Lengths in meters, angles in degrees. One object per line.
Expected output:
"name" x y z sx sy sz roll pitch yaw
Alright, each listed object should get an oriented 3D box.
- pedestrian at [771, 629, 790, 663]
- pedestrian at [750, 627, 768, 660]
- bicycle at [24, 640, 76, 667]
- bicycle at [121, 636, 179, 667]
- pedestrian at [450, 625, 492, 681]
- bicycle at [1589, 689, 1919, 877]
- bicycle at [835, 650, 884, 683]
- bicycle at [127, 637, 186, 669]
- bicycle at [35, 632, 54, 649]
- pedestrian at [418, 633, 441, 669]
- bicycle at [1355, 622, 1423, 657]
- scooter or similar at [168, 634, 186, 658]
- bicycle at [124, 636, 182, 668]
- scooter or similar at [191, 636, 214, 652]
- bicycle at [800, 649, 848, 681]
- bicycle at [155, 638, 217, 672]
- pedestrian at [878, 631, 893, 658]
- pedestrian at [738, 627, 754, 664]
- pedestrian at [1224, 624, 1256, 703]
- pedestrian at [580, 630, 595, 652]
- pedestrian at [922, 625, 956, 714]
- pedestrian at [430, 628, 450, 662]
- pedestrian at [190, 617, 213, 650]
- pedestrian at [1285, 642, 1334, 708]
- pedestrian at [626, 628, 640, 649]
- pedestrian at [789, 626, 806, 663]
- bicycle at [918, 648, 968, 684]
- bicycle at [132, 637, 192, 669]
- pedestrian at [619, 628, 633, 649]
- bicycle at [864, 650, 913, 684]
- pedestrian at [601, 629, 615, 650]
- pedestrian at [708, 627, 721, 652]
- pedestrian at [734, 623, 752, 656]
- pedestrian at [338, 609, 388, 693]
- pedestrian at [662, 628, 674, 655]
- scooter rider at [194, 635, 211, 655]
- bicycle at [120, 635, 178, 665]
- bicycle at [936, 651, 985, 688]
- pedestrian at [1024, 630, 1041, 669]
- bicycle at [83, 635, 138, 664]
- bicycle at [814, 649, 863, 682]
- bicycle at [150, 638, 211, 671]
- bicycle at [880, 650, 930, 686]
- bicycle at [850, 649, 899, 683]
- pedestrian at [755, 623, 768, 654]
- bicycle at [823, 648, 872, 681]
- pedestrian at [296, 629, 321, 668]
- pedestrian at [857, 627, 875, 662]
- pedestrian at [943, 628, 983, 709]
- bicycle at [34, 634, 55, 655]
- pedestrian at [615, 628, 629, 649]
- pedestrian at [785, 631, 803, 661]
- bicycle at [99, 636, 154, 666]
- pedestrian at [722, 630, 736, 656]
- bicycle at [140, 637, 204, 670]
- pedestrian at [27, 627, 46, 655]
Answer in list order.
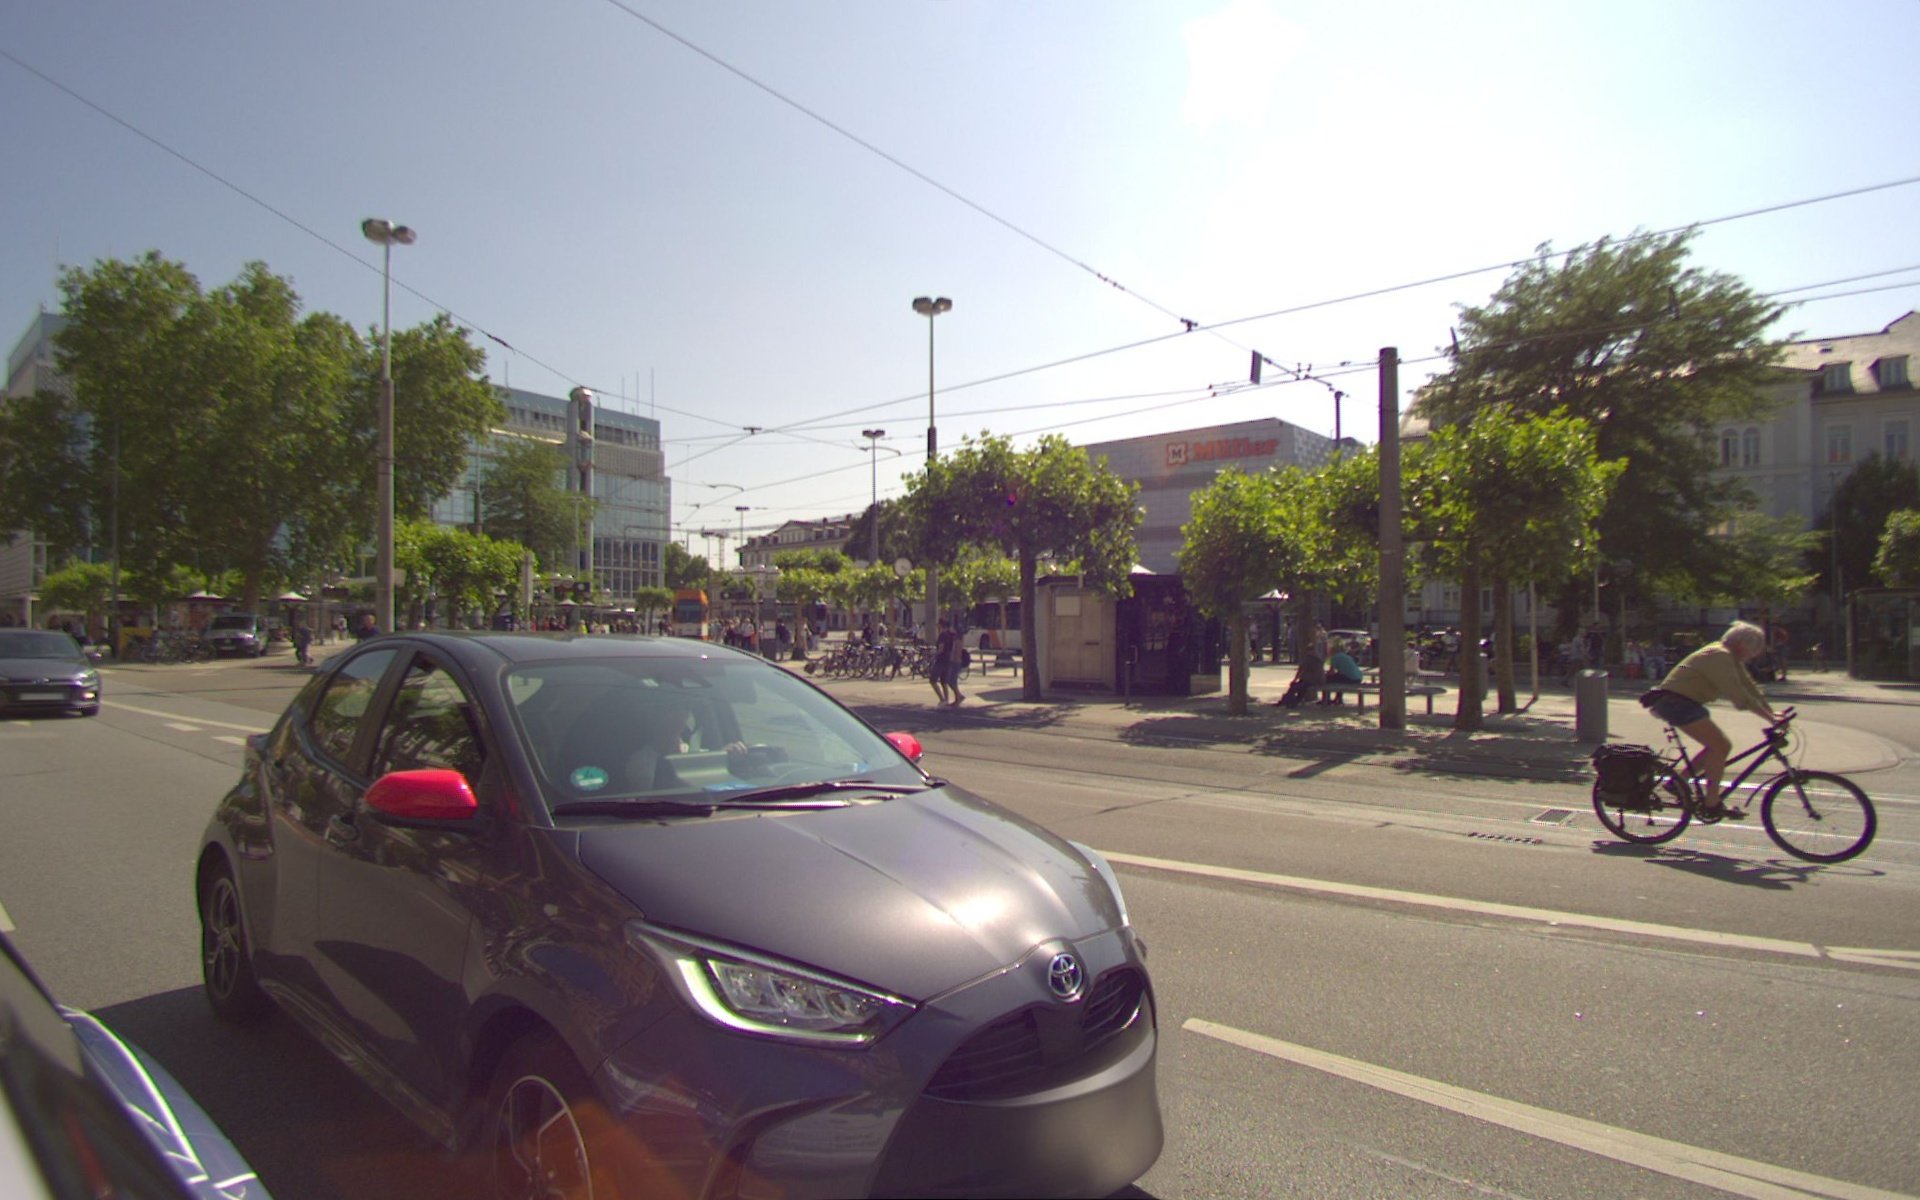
"pedestrian" -7.529 1.936 42.403 0.617 1.429 0.680 0 -3 3
"pedestrian" -8.980 1.960 45.245 0.549 1.477 0.621 -1 -4 18
"bicycle" -36.969 2.169 41.108 2.616 1.030 0.823 -1 0 31
"bicycle" -31.984 2.019 39.999 0.482 1.156 1.735 -1 -1 38
"pedestrian" -14.804 1.603 30.645 0.678 1.671 0.885 -1 -2 31
"bicycle" 5.781 1.267 7.466 1.871 1.129 0.810 -1 -4 37
"bicycle" -3.057 2.025 30.977 0.544 0.862 1.853 -1 1 27
"bicycle" -31.092 2.053 39.199 0.482 1.156 1.735 -1 -1 38
"bicycle" -63.534 2.834 70.243 1.753 1.156 0.586 -1 -1 33
"pedestrian" -18.882 1.813 36.039 0.568 1.243 0.555 -2 1 -15
"bicycle" 18.837 1.721 44.436 3.099 1.389 0.824 -2 0 -24
"scooter or similar" -38.186 2.247 49.339 0.559 1.128 0.540 -2 0 -22
"bicycle" -31.535 2.021 39.569 0.482 1.156 1.735 -1 -1 38
"scooter or similar" -34.542 2.004 46.151 0.570 0.652 0.788 -2 0 -17
"bicycle" -4.312 2.049 32.157 0.544 0.862 1.853 -1 1 27
"bicycle" -28.525 2.009 37.324 0.482 1.156 1.735 -1 -1 38
"pedestrian" -4.182 2.490 56.877 0.672 1.477 0.624 0 -3 7
"pedestrian" -9.627 2.049 45.616 0.518 1.678 0.469 -1 -4 18
"pedestrian" 5.865 1.327 21.195 0.597 1.622 0.574 0 -4 12
"pedestrian" -26.443 2.921 71.825 0.555 1.483 0.748 -1 0 40
"pedestrian" -0.411 1.374 20.155 0.581 1.747 0.524 0 -4 11
"pedestrian" -22.635 1.953 44.025 0.716 1.477 0.682 2 -4 -29
"pedestrian" -35.154 1.535 46.914 0.570 1.472 0.788 -2 0 -16
"pedestrian" 6.846 1.458 19.816 0.751 1.256 0.669 -2 -4 34
"pedestrian" -23.674 2.783 73.337 0.555 1.483 0.748 -1 0 40
"pedestrian" -7.756 2.128 48.450 0.584 1.744 0.557 -1 -4 18
"bicycle" -0.459 1.850 28.708 0.579 0.876 1.853 -1 1 27
"bicycle" -30.517 2.017 38.725 0.482 1.156 1.735 -1 -1 38
"pedestrian" -24.502 2.801 74.224 0.555 1.483 0.748 -1 0 40
"bicycle" -2.107 1.974 30.157 0.544 0.862 1.853 -1 1 27
"pedestrian" -25.294 2.847 72.721 0.555 1.483 0.748 -1 0 40
"pedestrian" -15.639 2.515 64.485 0.573 1.561 0.677 0 -4 14
"pedestrian" -11.843 2.151 55.226 0.675 1.809 0.621 -1 -4 18
"pedestrian" -14.804 1.266 25.109 0.670 2.023 0.895 1 -3 -3
"pedestrian" -17.101 2.431 59.215 0.448 1.561 0.474 0 -4 14
"scooter rider" -34.570 2.052 46.167 0.499 0.845 0.350 -2 0 -16
"bicycle" -32.448 1.988 40.508 0.482 1.156 1.735 -1 -1 38
"bicycle" 0.036 1.928 28.433 0.579 0.876 1.853 -1 1 27
"pedestrian" 2.718 1.867 38.102 0.617 1.477 0.680 0 -3 3
"bicycle" -36.259 2.110 43.207 0.482 1.156 1.735 -1 -1 38
"bicycle" -3.794 2.042 31.811 0.580 0.878 1.853 -1 1 27
"bicycle" -28.930 2.010 37.569 0.482 1.156 1.735 -1 -1 38
"bicycle" -1.580 1.963 29.427 0.579 0.876 1.853 -1 1 27
"bicycle" -2.579 1.986 30.648 0.544 0.862 1.853 -1 1 27
"pedestrian" -11.116 2.179 56.723 0.462 1.731 0.555 -1 -4 18
"bicycle" -3.471 1.988 31.343 0.544 0.862 1.853 -1 1 27
"pedestrian" -24.680 1.833 38.333 0.680 1.477 0.616 -2 -2 41
"pedestrian" -4.333 2.053 46.668 0.530 1.565 0.592 -3 -5 43
"pedestrian" 0.058 1.395 20.746 0.518 1.622 0.627 3 -5 -40
"bicycle" -56.519 2.737 62.474 0.718 1.152 1.917 -2 1 -36
"pedestrian" -24.474 2.796 73.237 0.555 1.483 0.748 -1 0 40
"pedestrian" -8.485 2.339 51.657 0.675 1.513 0.621 -1 -4 18
"bicycle" -34.908 2.127 42.398 0.482 1.156 1.735 -1 -1 38
"pedestrian" -14.486 2.706 63.563 0.573 1.561 0.677 0 -4 14
"bicycle" -29.618 2.004 38.068 0.482 1.156 1.842 -1 -1 38
"pedestrian" -56.930 2.501 62.392 0.721 1.682 0.641 -2 0 -36
